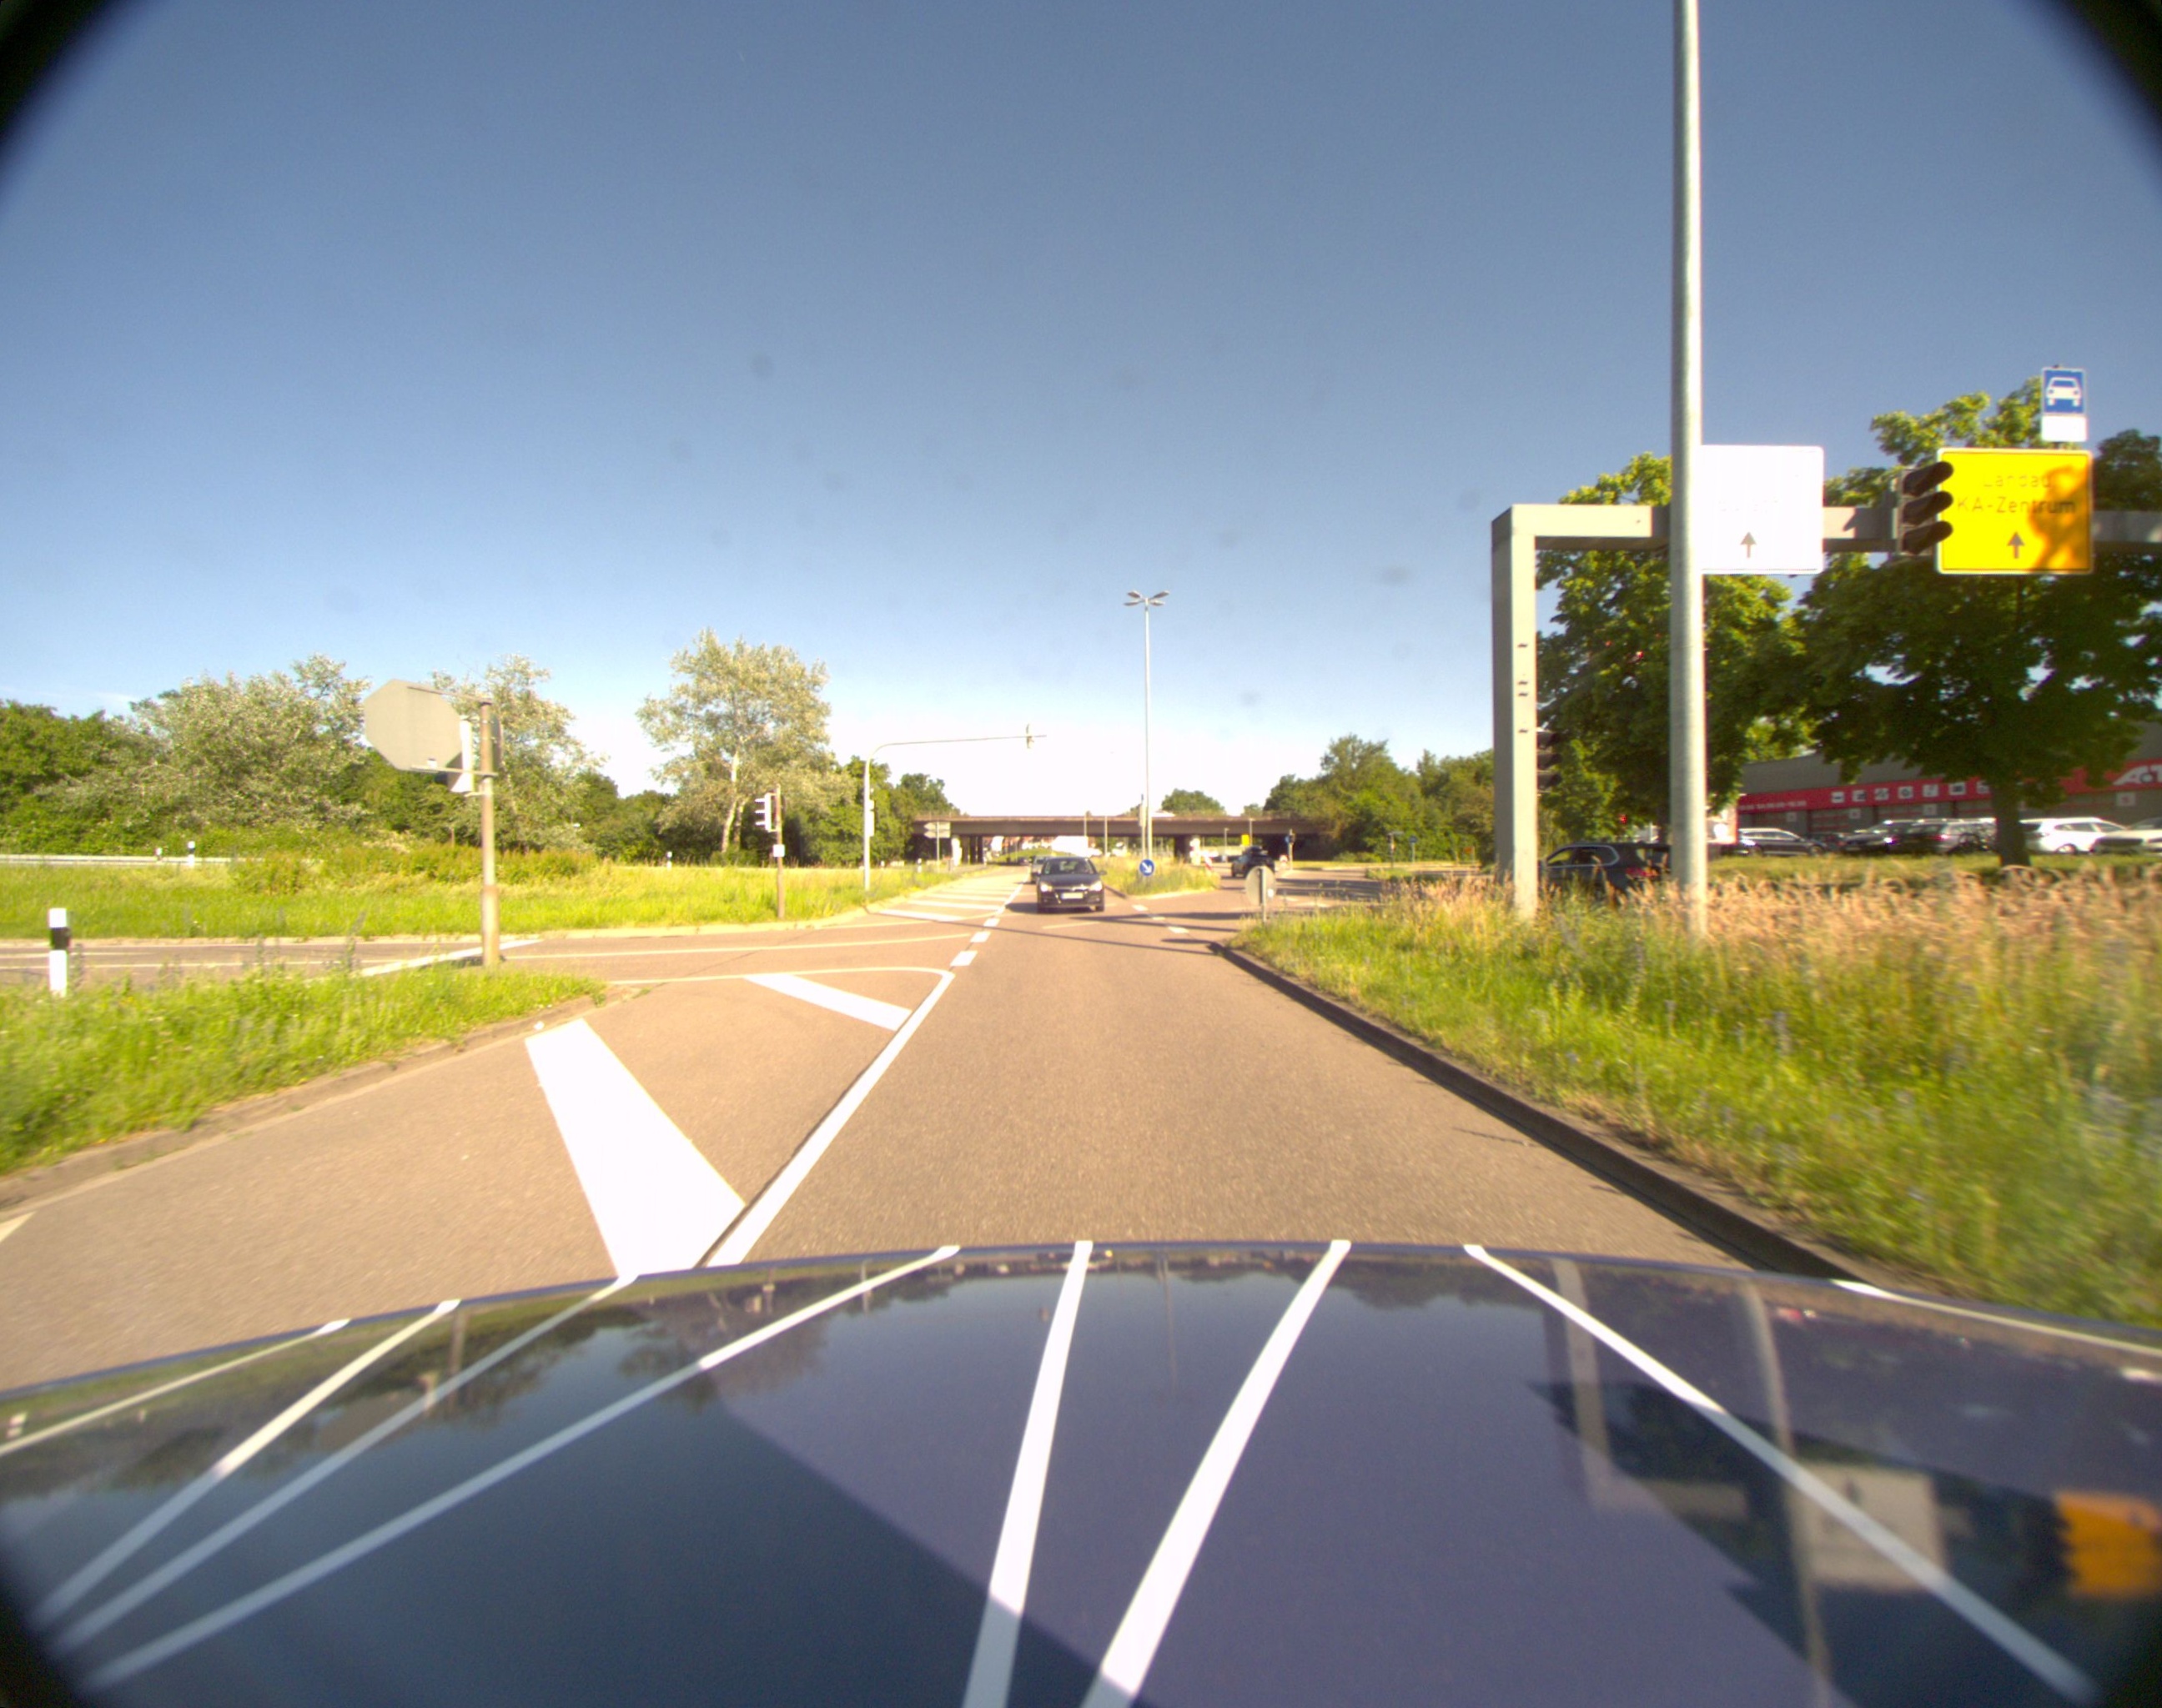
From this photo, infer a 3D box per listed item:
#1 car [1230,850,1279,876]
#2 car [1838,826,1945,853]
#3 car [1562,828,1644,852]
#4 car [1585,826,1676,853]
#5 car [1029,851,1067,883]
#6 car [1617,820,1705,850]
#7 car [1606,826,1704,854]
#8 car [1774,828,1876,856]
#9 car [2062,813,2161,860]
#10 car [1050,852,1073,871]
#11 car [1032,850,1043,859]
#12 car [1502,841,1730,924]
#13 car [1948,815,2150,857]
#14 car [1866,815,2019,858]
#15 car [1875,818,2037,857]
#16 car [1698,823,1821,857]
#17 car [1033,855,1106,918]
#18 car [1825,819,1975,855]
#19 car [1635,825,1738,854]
[{"bbox_3d":[11.017,0.540,48.548,1.881,1.534,4.571,1,0,-2],"label":"car"},{"bbox_3d":[45.844,-0.801,43.025,4.129,1.447,1.895,-1,0,-3],"label":"car"},{"bbox_3d":[34.281,-0.901,50.017,4.122,1.542,1.898,0,1,20],"label":"car"},{"bbox_3d":[33.356,-0.845,46.228,4.125,1.542,1.897,0,1,10],"label":"car"},{"bbox_3d":[-1.741,0.652,40.102,1.827,1.528,4.040,-1,1,-3],"label":"car"},{"bbox_3d":[44.491,-1.416,58.368,1.899,2.139,5.033,-1,1,-34],"label":"car"},{"bbox_3d":[33.027,-0.794,43.804,4.125,1.542,1.897,0,1,8],"label":"car"},{"bbox_3d":[41.759,-0.657,42.794,1.784,1.447,3.983,-1,0,-1],"label":"car"},{"bbox_3d":[33.291,-0.542,23.362,4.130,1.380,1.945,-1,0,-6],"label":"car"},{"bbox_3d":[-1.649,0.602,64.154,1.827,1.528,4.041,-1,0,-3],"label":"car"},{"bbox_3d":[-7.380,0.082,129.018,1.827,1.528,4.041,0,0,-3],"label":"car"},{"bbox_3d":[12.286,0.597,17.937,1.947,1.687,4.628,1,0,-3],"label":"car"},{"bbox_3d":[33.187,-0.601,26.144,4.632,1.380,1.946,-1,0,-2],"label":"car"},{"bbox_3d":[42.035,-0.805,37.293,1.784,1.945,5.129,-1,0,1],"label":"car"},{"bbox_3d":[32.644,-0.618,28.411,4.130,1.380,1.945,-1,0,-6],"label":"car"},{"bbox_3d":[32.141,-0.657,36.089,4.128,1.542,1.946,-1,1,0],"label":"car"},{"bbox_3d":[-0.273,0.790,20.460,1.707,1.447,3.959,-2,1,0],"label":"car"},{"bbox_3d":[33.021,-0.672,30.725,4.130,1.380,1.946,-1,0,-4],"label":"car"},{"bbox_3d":[32.938,-0.778,41.423,4.127,1.542,1.819,-1,1,2],"label":"car"}]
